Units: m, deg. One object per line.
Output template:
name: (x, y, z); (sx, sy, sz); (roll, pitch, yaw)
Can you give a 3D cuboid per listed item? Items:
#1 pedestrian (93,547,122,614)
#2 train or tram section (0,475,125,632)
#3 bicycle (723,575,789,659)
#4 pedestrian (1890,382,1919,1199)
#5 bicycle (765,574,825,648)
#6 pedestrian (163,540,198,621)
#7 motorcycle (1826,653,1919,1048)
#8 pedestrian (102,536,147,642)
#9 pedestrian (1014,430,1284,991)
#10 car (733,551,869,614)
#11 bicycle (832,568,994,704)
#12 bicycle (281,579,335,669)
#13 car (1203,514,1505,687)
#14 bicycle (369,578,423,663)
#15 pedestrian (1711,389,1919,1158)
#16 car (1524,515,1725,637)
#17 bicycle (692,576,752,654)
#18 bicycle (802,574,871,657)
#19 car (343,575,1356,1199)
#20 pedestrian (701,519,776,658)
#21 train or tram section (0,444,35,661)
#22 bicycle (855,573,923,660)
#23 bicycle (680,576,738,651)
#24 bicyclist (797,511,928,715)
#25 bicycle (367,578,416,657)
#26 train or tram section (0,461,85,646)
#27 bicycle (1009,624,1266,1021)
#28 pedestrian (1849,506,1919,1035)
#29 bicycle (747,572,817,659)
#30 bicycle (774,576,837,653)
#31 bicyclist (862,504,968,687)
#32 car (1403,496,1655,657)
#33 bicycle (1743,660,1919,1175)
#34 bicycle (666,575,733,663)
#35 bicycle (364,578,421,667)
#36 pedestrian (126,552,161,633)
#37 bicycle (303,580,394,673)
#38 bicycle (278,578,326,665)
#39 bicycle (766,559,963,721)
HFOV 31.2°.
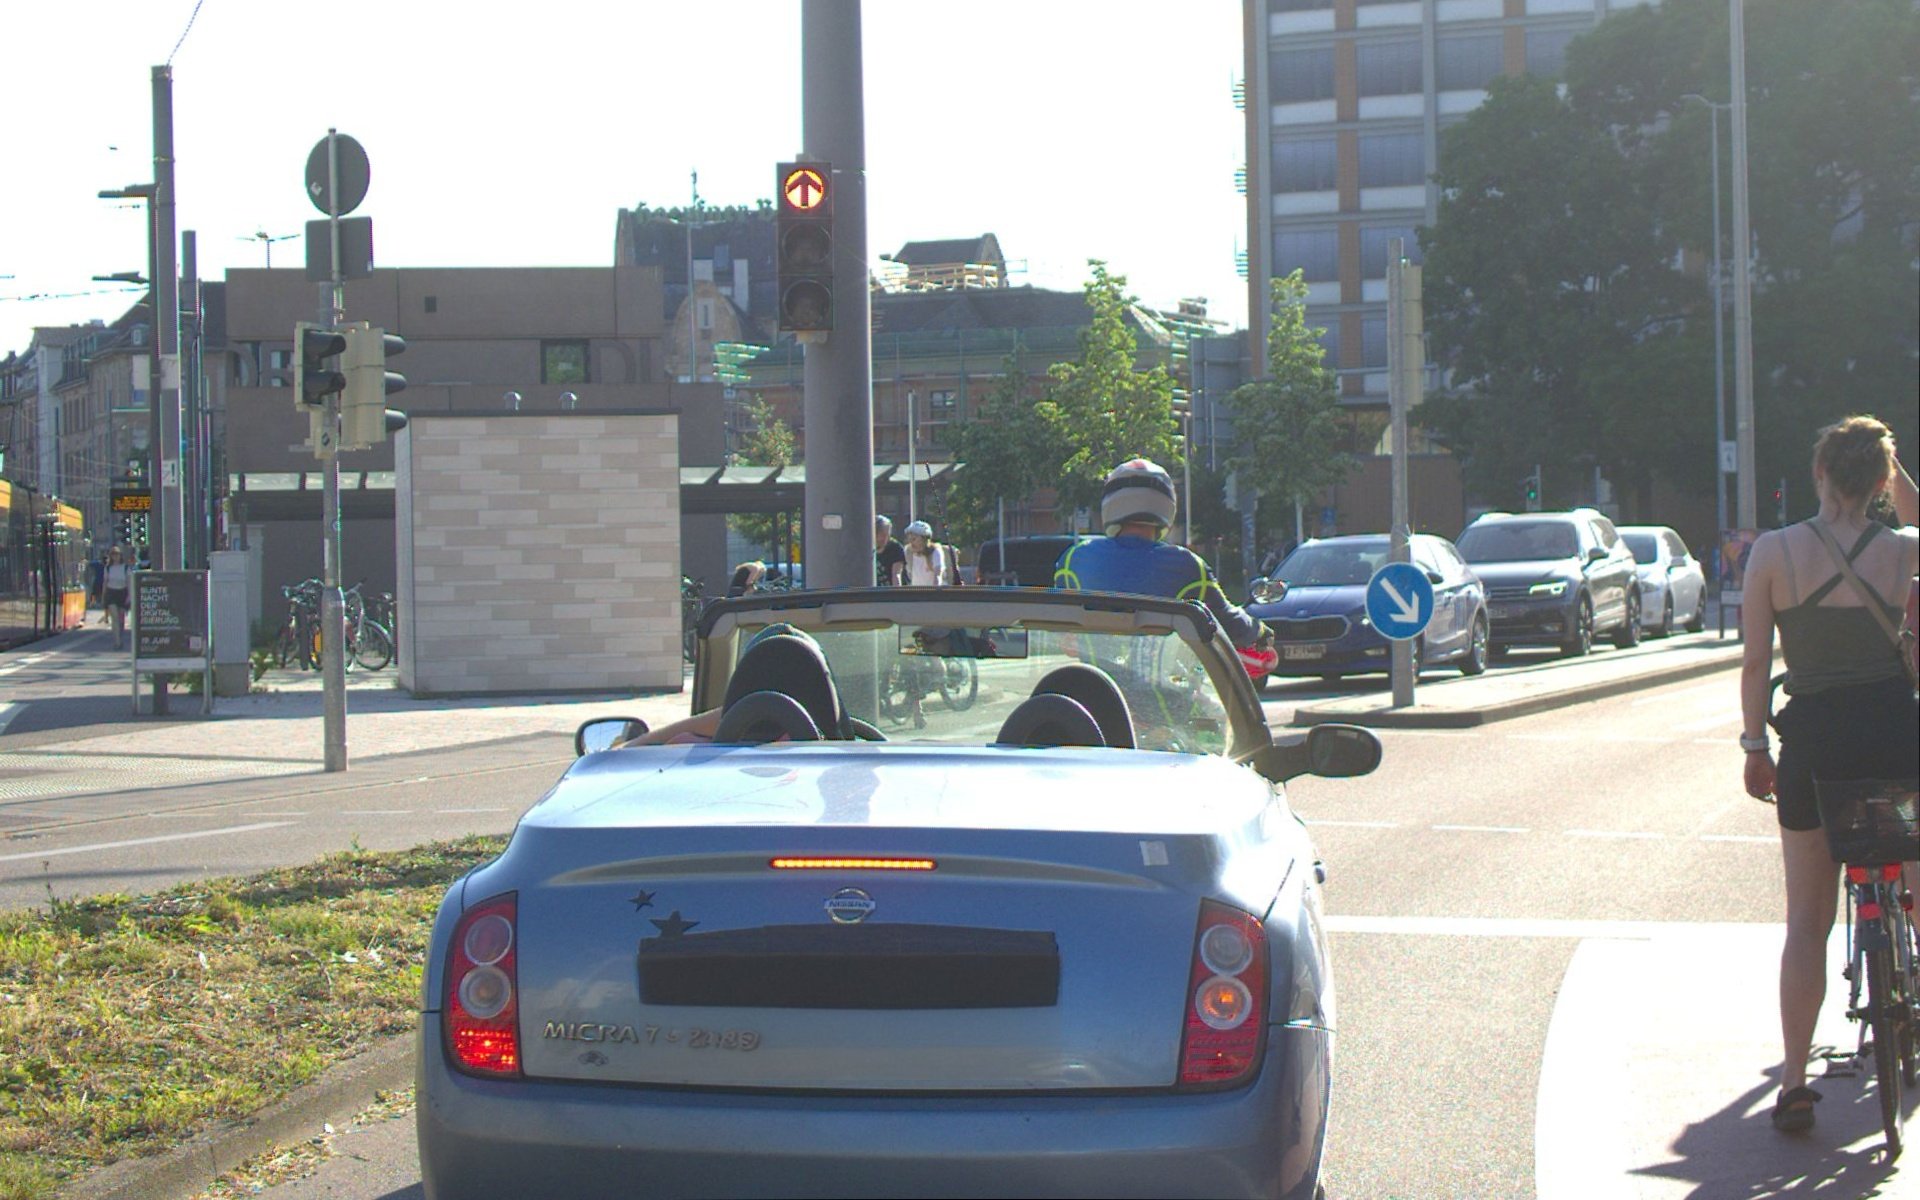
pedestrian: (-22.295, -0.513, 89.925); (0.604, 1.743, 0.832); (-1, 1, -8)
train or tram section: (-22.576, -1.140, 84.596); (3.039, 3.584, 12.055); (1, 1, -9)
bicycle: (-2.807, 0.226, 47.195); (0.606, 1.111, 1.897); (1, 1, -12)
pedestrian: (2.489, 0.456, 7.397); (0.806, 1.862, 0.956); (1, 0, 8)
bicycle: (-2.561, 0.163, 53.243); (0.606, 1.111, 1.897); (1, 1, -12)
pedestrian: (-17.054, -0.434, 75.200); (0.637, 1.743, 0.736); (-1, 1, -19)
motorcycle: (3.173, 0.746, 11.079); (0.614, 1.094, 2.358); (1, 1, 17)
pedestrian: (-13.827, -0.183, 56.870); (0.637, 1.743, 0.572); (-1, 1, -19)
pedestrian: (0.673, 0.361, 11.964); (0.833, 1.862, 0.920); (1, 0, 8)
car: (-4.122, -0.455, 88.687); (1.640, 1.555, 3.599); (-2, 1, -39)
bicycle: (-0.408, 0.311, 31.465); (0.675, 1.176, 2.181); (-1, 1, 22)
bicycle: (-8.365, 0.301, 44.070); (0.606, 1.111, 1.897); (1, 1, -12)
car: (3.915, -0.012, 33.633); (1.739, 1.568, 3.919); (1, 1, 25)
bicycle: (-7.629, 0.267, 46.464); (0.606, 1.111, 1.897); (1, 1, -12)
pedestrian: (2.286, 0.415, 8.783); (0.659, 1.862, 0.872); (1, 0, 15)
car: (9.001, -0.345, 46.329); (1.697, 1.555, 3.974); (-1, 1, 25)
bicycle: (-3.544, 0.211, 51.068); (0.606, 1.111, 1.897); (1, 1, -12)
bicycle: (-1.721, 0.204, 47.583); (0.606, 1.111, 1.897); (1, 1, -12)
car: (0.032, 0.678, 7.692); (1.660, 1.436, 4.153); (1, 1, 6)
pedestrian: (-3.019, -0.157, 46.738); (0.900, 1.862, 0.687); (1, 0, -12)
train or tram section: (-18.166, -0.851, 60.679); (2.880, 3.584, 12.203); (1, 1, -12)
bicycle: (-0.947, 0.208, 45.566); (0.606, 1.111, 1.897); (1, 1, -10)
bicycle: (-3.874, 0.200, 53.035); (0.606, 1.111, 1.897); (1, 1, -12)
bicyclist: (-0.813, 0.099, 28.781); (0.709, 1.651, 0.900); (-3, 0, 22)
bicycle: (-8.330, 0.245, 50.338); (0.606, 1.111, 1.897); (1, 1, -12)
train or tram section: (-20.508, -0.992, 72.669); (3.011, 3.584, 12.203); (1, 1, -10)
bicycle: (0.657, 0.699, 11.901); (0.608, 1.187, 2.414); (1, 1, 9)
pedestrian: (3.132, 0.512, 10.813); (0.588, 1.593, 1.024); (1, 0, 17)
bicycle: (-2.356, 0.192, 45.263); (0.606, 1.111, 1.897); (1, 1, -12)
bicycle: (-2.313, 0.208, 51.271); (0.606, 1.111, 1.897); (1, 1, -12)
bicyclist: (-0.409, -0.045, 31.487); (0.709, 1.651, 0.742); (-1, 1, 22)
car: (6.639, -0.300, 39.738); (1.763, 1.700, 4.525); (-2, 0, 24)
bicycle: (2.368, 0.758, 8.976); (0.564, 1.147, 1.948); (1, 1, 14)
bicycle: (-3.430, 0.238, 45.122); (0.606, 1.111, 1.897); (1, 1, -12)
bicycle: (-7.340, 0.278, 44.400); (0.606, 1.111, 1.897); (1, 1, -12)
pedestrian: (-17.686, -0.170, 74.477); (0.637, 1.743, 0.736); (-1, 1, -19)
bicycle: (-7.545, 0.318, 42.465); (0.607, 1.111, 1.896); (1, 1, 5)
bicycle: (-8.799, 0.276, 45.995); (0.606, 1.111, 1.897); (1, 1, -11)
bicycle: (-0.773, 0.314, 28.852); (0.675, 1.246, 2.454); (-3, 0, 22)
